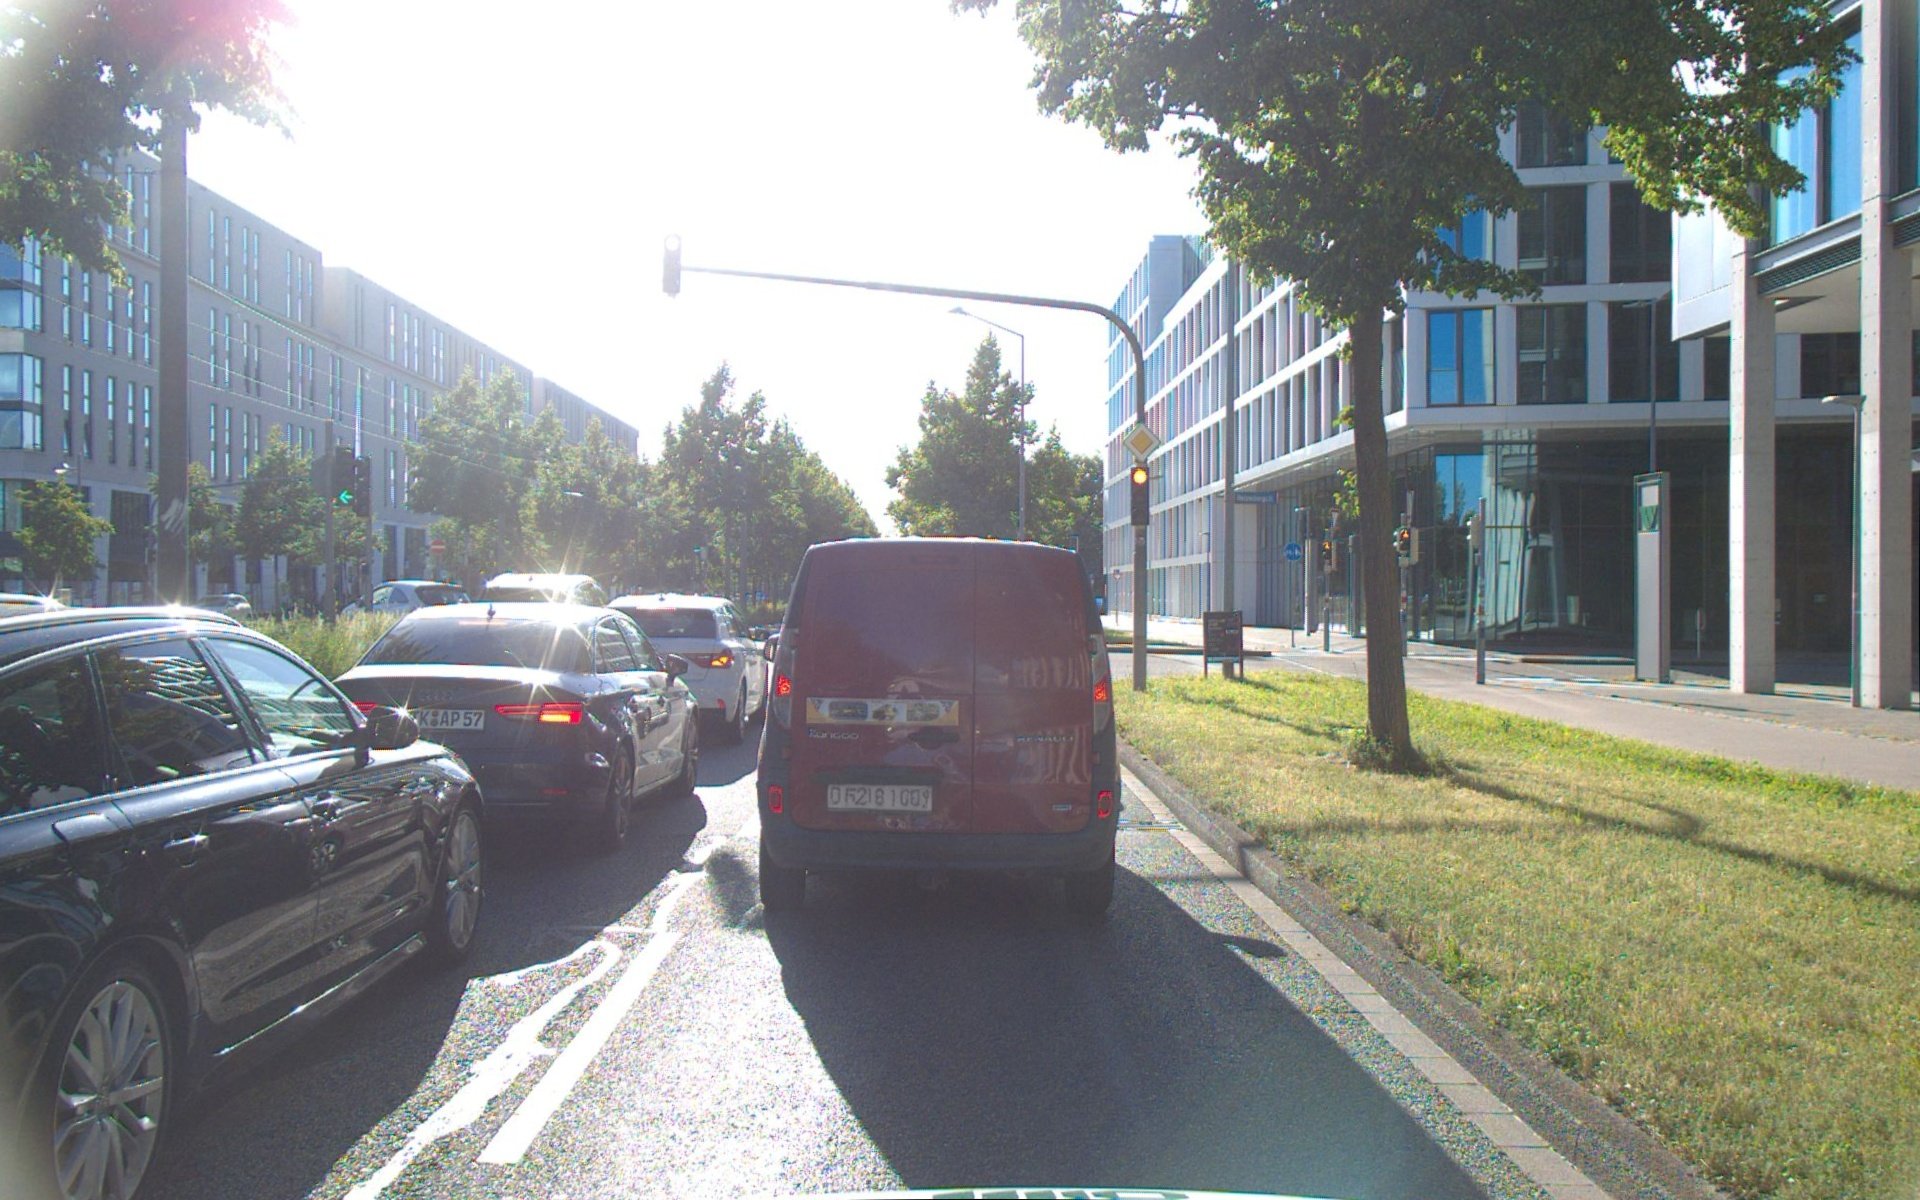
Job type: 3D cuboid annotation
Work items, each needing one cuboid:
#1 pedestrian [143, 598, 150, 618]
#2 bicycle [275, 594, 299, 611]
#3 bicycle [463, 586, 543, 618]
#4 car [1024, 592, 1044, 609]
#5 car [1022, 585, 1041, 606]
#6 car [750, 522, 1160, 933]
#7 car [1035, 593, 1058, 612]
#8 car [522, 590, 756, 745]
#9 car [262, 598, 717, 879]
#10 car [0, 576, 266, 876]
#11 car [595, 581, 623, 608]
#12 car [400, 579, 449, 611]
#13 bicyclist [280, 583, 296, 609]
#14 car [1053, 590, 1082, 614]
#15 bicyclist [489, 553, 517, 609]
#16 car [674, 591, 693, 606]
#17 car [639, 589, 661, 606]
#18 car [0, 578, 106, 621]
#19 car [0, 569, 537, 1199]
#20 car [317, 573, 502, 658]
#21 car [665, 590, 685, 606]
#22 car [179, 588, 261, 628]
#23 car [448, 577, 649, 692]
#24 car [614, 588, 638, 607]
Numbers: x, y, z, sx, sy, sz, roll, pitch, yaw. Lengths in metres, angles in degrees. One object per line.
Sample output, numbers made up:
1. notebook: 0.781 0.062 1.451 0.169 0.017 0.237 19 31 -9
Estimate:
1. pedestrian: -44.266 0.450 89.962 0.248 1.104 0.289 0 0 -1
2. bicycle: -40.549 0.140 99.727 0.663 1.005 1.956 0 0 -1
3. bicycle: -17.617 0.070 63.784 2.884 1.211 0.817 0 0 -5
4. car: 8.060 0.041 179.937 1.953 1.813 3.999 0 0 -1
5. car: 8.574 -0.545 198.464 1.953 2.540 4.986 0 0 -1
6. car: -0.050 0.557 9.316 1.804 1.812 3.999 0 0 -1
7. car: 8.416 0.212 160.742 1.953 1.813 3.999 0 0 -1
8. car: -3.262 0.624 17.523 1.767 1.451 3.900 0 0 -1
9. car: -2.791 0.730 10.866 1.804 1.451 4.338 0 0 -1
10. car: -5.687 0.611 9.456 1.763 1.473 4.565 0 0 -4
11. car: -35.607 -0.581 167.816 1.953 2.653 3.999 0 0 -1
12. car: -35.288 -0.323 109.110 1.953 2.049 3.999 0 0 -1
13. bicyclist: -40.550 -0.242 99.814 0.663 1.556 0.714 0 0 -1
14. car: 8.321 0.129 128.171 1.953 1.813 3.999 0 0 -1
15. bicyclist: -17.623 -0.724 63.795 0.921 2.129 0.817 0 0 -5
16. car: -37.174 -0.215 222.301 1.953 2.049 3.999 0 0 -1
17. car: -37.222 -0.274 198.660 1.953 2.049 3.999 0 0 -1
18. car: -33.201 -0.034 60.652 1.729 1.546 3.999 0 0 -1
19. car: -2.779 0.685 5.081 1.836 1.510 4.965 0 0 -2
20. car: -11.712 0.298 35.035 4.492 1.508 1.792 4 0 44
21. car: -37.362 -0.237 216.675 1.953 2.049 3.999 0 0 -1
22. car: -34.748 0.367 77.771 1.953 1.845 4.369 0 0 -1
23. car: -5.856 0.462 24.094 1.762 1.473 4.568 2 0 0
24. car: -36.725 -0.293 181.853 1.953 2.049 3.999 0 0 -1
